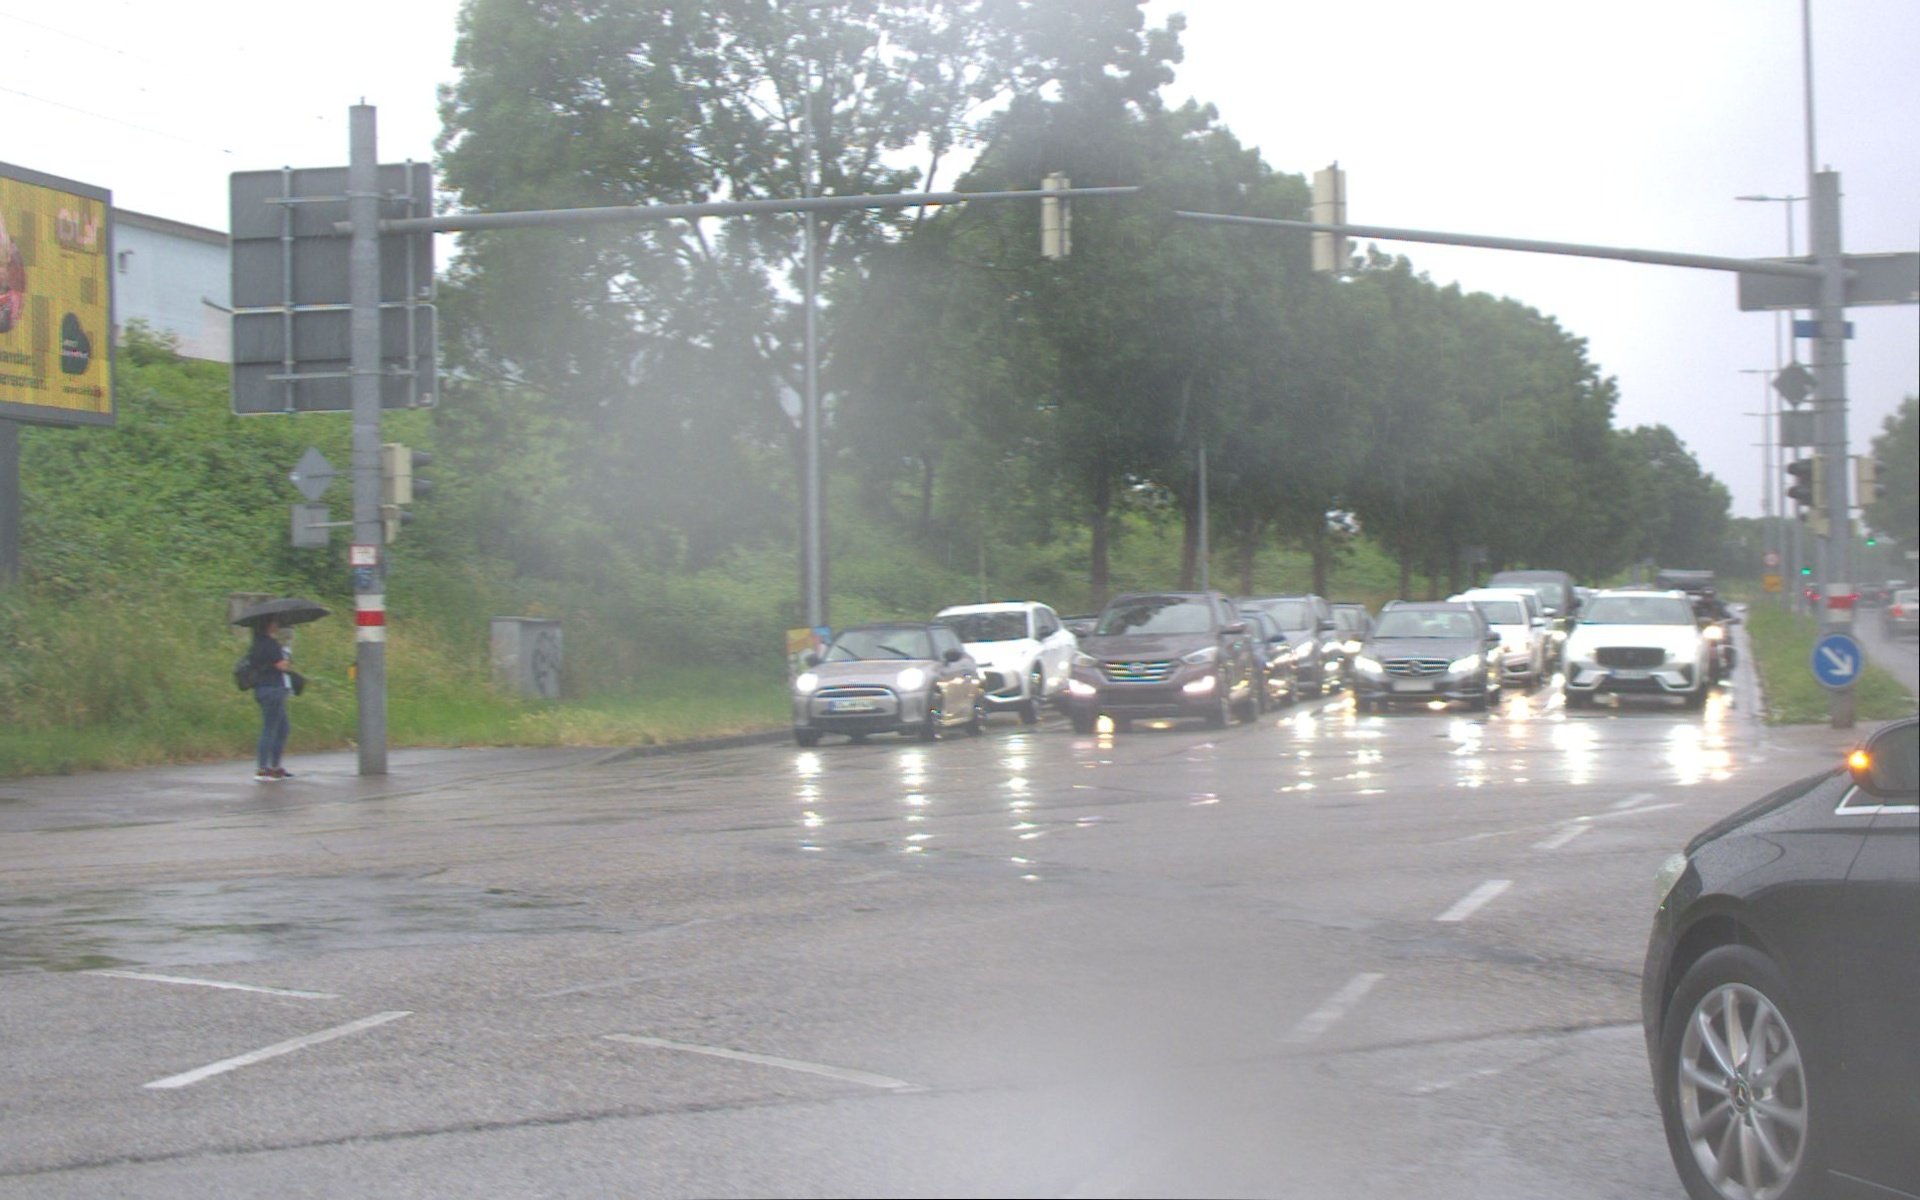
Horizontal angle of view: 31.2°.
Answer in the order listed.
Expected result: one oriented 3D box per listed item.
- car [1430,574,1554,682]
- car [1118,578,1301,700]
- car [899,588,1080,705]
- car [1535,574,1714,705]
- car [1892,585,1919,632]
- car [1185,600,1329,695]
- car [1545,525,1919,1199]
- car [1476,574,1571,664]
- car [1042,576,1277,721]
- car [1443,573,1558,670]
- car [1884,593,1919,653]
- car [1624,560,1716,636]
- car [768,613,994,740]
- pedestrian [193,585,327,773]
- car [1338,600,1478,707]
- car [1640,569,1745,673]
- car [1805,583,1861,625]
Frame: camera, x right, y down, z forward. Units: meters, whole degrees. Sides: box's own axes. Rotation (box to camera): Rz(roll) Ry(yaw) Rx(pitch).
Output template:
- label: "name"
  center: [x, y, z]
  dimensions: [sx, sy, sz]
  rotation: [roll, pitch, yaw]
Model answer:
- label: "car"
  center: [9.029, 0.447, 58.128]
  dimensions: [1.865, 1.714, 3.998]
  rotation: [-1, 0, 11]
- label: "car"
  center: [3.559, 0.519, 48.454]
  dimensions: [1.857, 1.604, 3.997]
  rotation: [-1, 0, 14]
- label: "car"
  center: [0.449, 0.614, 47.225]
  dimensions: [1.828, 1.477, 3.998]
  rotation: [-1, 0, 10]
- label: "car"
  center: [9.440, 0.519, 48.602]
  dimensions: [2.171, 1.714, 4.300]
  rotation: [-1, 0, 15]
- label: "car"
  center: [34.128, 0.283, 121.962]
  dimensions: [1.998, 1.612, 3.997]
  rotation: [-1, 0, 14]
- label: "car"
  center: [4.699, 0.719, 53.943]
  dimensions: [1.828, 1.353, 3.998]
  rotation: [-1, 0, 11]
- label: "car"
  center: [2.732, 0.605, 6.028]
  dimensions: [1.870, 1.518, 4.088]
  rotation: [-1, 0, -14]
- label: "car"
  center: [11.351, 0.356, 69.070]
  dimensions: [1.655, 1.714, 3.998]
  rotation: [-1, 0, 12]
- label: "car"
  center: [2.518, 0.565, 42.382]
  dimensions: [2.024, 1.651, 4.058]
  rotation: [-1, 0, 16]
- label: "car"
  center: [10.139, 0.382, 64.352]
  dimensions: [1.846, 1.714, 3.998]
  rotation: [-1, 0, 13]
- label: "car"
  center: [26.693, 0.632, 95.589]
  dimensions: [1.844, 1.612, 3.997]
  rotation: [1, 0, 14]
- label: "car"
  center: [16.555, -0.066, 80.285]
  dimensions: [1.939, 1.714, 3.998]
  rotation: [-1, 0, 10]
- label: "car"
  center: [-0.893, 0.885, 41.245]
  dimensions: [1.893, 1.344, 3.998]
  rotation: [-1, 1, 11]
- label: "pedestrian"
  center: [-6.491, 0.722, 31.917]
  dimensions: [1.002, 1.713, 0.820]
  rotation: [-1, 0, 5]
- label: "car"
  center: [6.184, 0.715, 47.669]
  dimensions: [1.827, 1.353, 3.999]
  rotation: [-1, 0, 7]
- label: "car"
  center: [12.659, 0.339, 59.548]
  dimensions: [1.600, 1.714, 3.998]
  rotation: [-1, 0, 10]
- label: "car"
  center: [35.283, 0.139, 139.018]
  dimensions: [1.997, 1.612, 3.998]
  rotation: [-1, 0, 12]
